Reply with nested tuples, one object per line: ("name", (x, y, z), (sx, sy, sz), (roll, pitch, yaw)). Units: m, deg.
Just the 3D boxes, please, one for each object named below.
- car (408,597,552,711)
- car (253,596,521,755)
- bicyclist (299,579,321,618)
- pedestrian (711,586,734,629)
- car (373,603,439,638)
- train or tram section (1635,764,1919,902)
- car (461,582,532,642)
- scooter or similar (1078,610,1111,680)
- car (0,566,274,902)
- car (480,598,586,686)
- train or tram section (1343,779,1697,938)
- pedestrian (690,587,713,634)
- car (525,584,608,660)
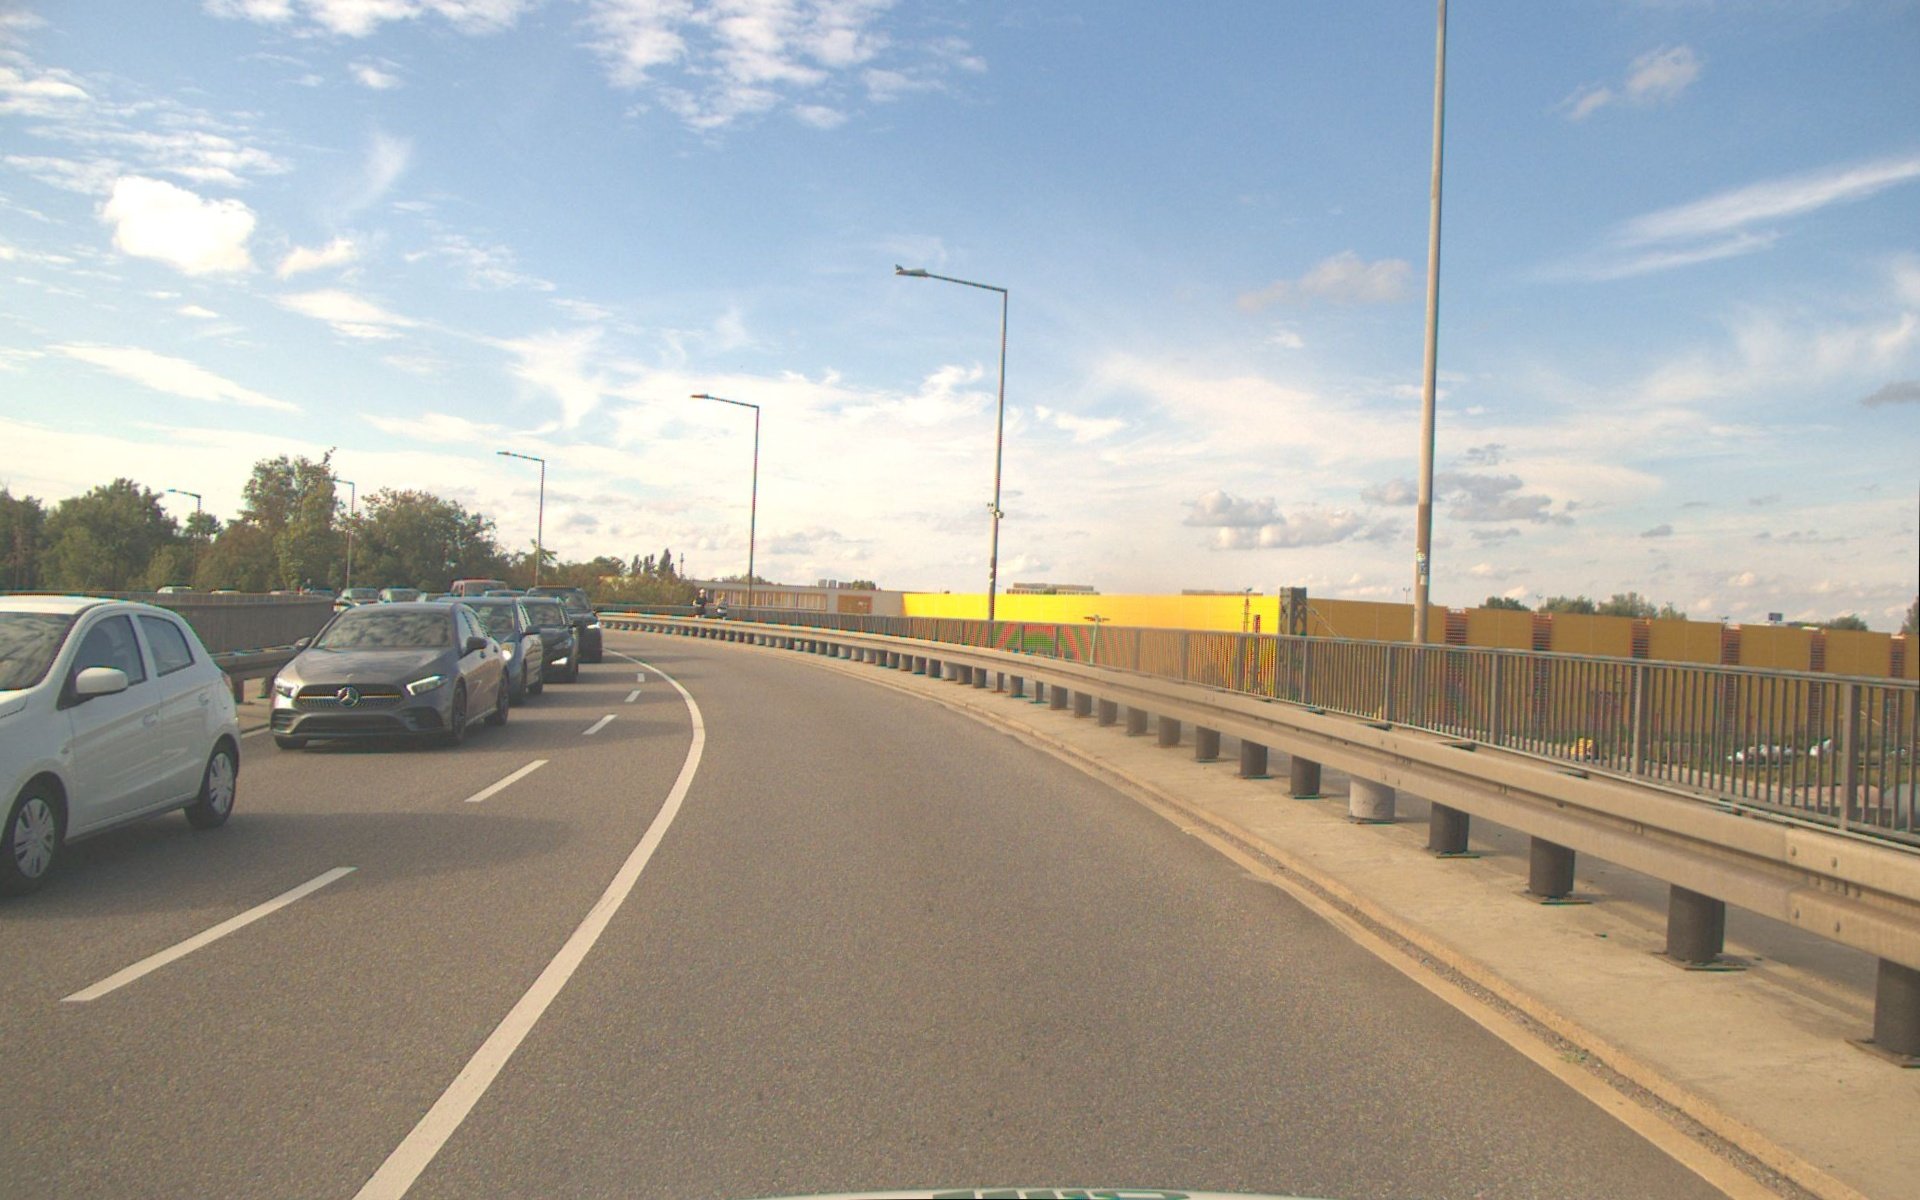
("car", (-6.968, 0.717, 24.351), (1.729, 1.516, 4.377), (0, 0, -12))
("car", (-5.946, 0.705, 17.699), (1.778, 1.482, 4.319), (0, 0, -6))
("bicyclist", (-28.682, -0.053, 72.982), (0.757, 1.690, 1.110), (1, -1, -28))
("pedestrian", (-8.829, 0.286, 61.353), (0.666, 1.571, 0.955), (1, -1, -19))
("car", (-24.608, 0.885, 73.444), (1.726, 1.527, 4.027), (0, 0, -35))
("train or tram section", (36.996, 10.175, 73.832), (16.506, 4.795, 3.068), (1, -1, -29))
("car", (-15.779, 0.394, 56.150), (1.978, 1.936, 4.839), (0, 0, -20))
("scooter or similar", (2.323, 0.766, 28.657), (0.260, 1.182, 1.185), (0, -1, -11))
("car", (-5.438, 0.638, 9.401), (1.650, 1.572, 3.920), (-1, 0, -4))
("car", (-7.880, 0.720, 30.849), (1.729, 1.516, 4.431), (0, 0, -12))
("train or tram section", (22.577, 10.030, 65.869), (16.506, 4.795, 3.068), (1, -1, -29))
("pedestrian", (-9.542, 0.385, 60.995), (0.666, 1.690, 0.860), (1, -1, -19))
("car", (-9.351, 0.483, 39.368), (1.798, 1.701, 4.849), (0, 0, -13))
